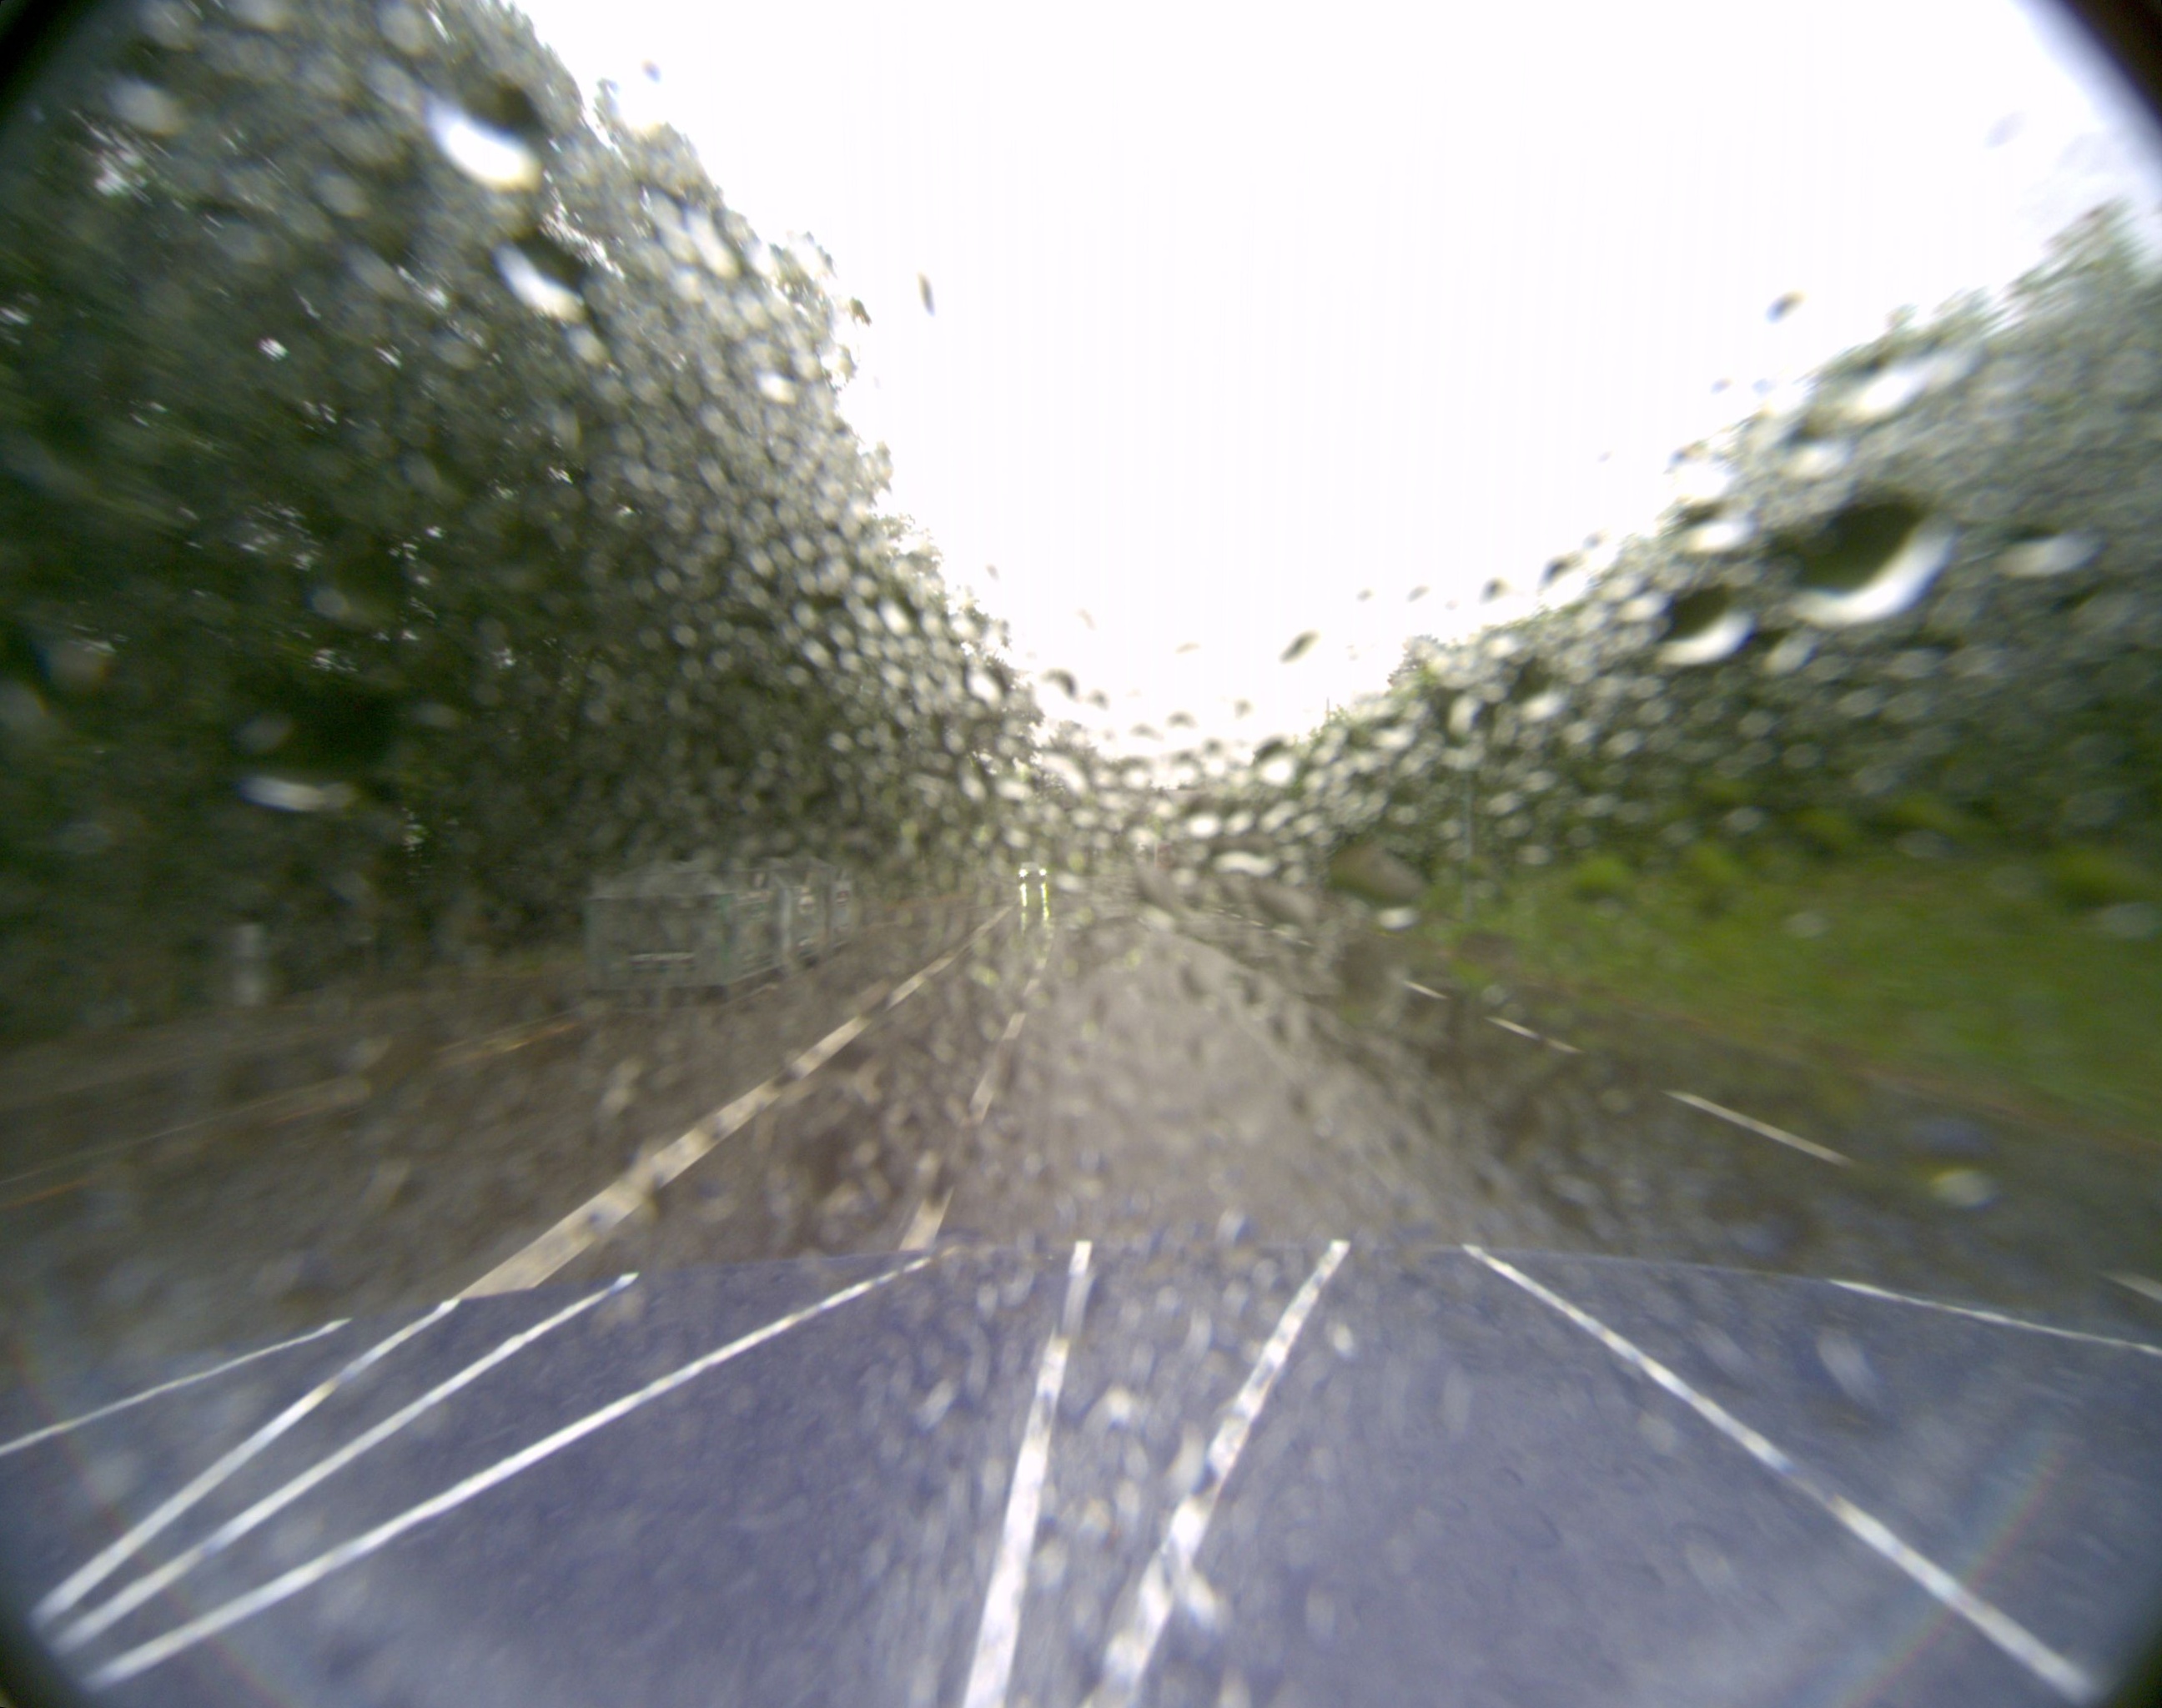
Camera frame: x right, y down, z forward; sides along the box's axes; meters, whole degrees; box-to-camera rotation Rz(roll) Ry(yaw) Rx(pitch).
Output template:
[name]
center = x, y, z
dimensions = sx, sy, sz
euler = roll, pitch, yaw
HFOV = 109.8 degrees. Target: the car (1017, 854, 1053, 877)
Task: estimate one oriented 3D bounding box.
[car]
center = -3.450, 0.860, 56.034
dimensions = 1.801, 1.543, 3.995
euler = -3, 0, -16
